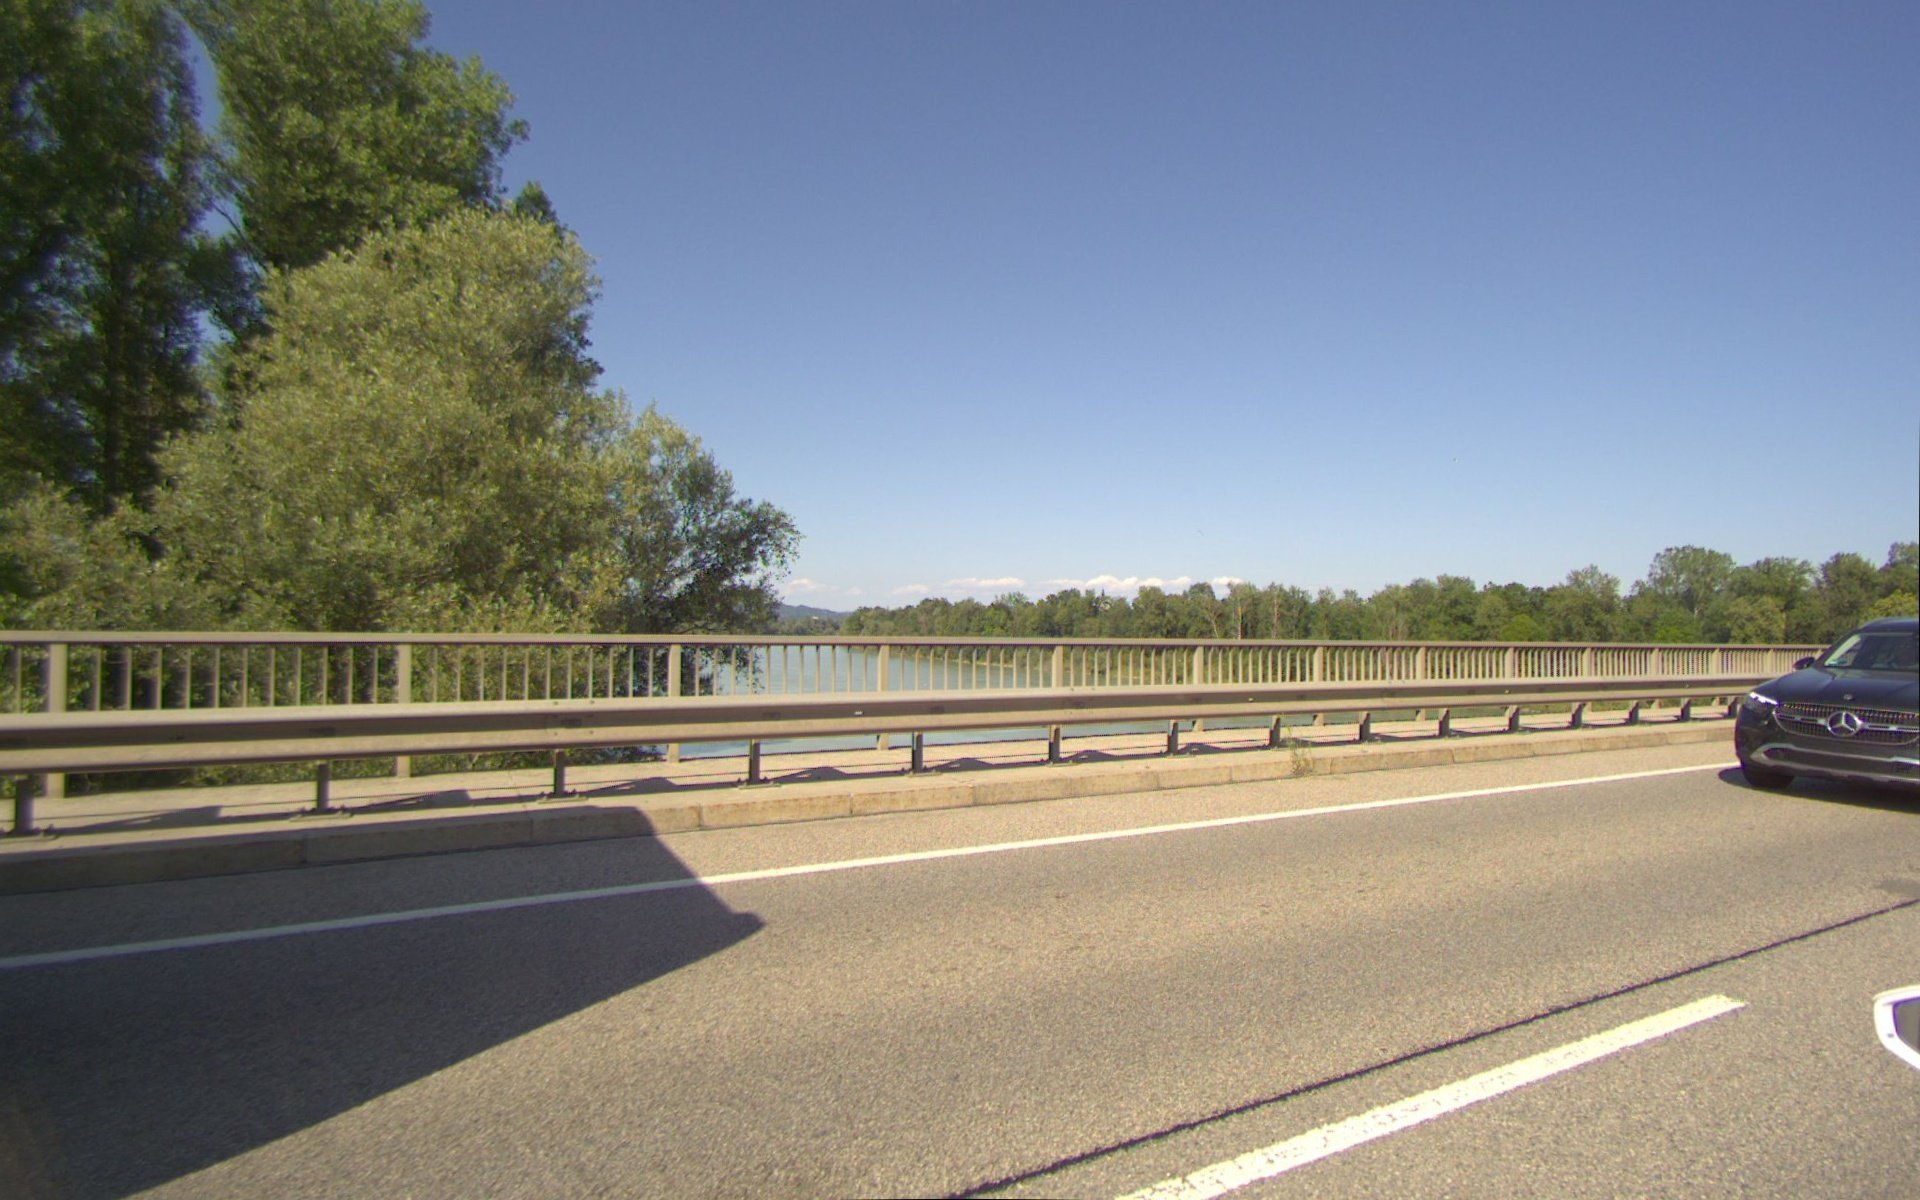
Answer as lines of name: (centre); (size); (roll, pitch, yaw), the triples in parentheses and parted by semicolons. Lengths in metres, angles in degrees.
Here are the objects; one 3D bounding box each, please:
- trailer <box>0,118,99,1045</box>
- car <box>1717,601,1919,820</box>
trailer: (-6.202, -0.099, 0.797); (7.967, 2.774, 2.543); (1, 0, -30)
car: (9.109, 0.907, 9.311); (4.381, 1.683, 1.794); (1, 0, -31)
